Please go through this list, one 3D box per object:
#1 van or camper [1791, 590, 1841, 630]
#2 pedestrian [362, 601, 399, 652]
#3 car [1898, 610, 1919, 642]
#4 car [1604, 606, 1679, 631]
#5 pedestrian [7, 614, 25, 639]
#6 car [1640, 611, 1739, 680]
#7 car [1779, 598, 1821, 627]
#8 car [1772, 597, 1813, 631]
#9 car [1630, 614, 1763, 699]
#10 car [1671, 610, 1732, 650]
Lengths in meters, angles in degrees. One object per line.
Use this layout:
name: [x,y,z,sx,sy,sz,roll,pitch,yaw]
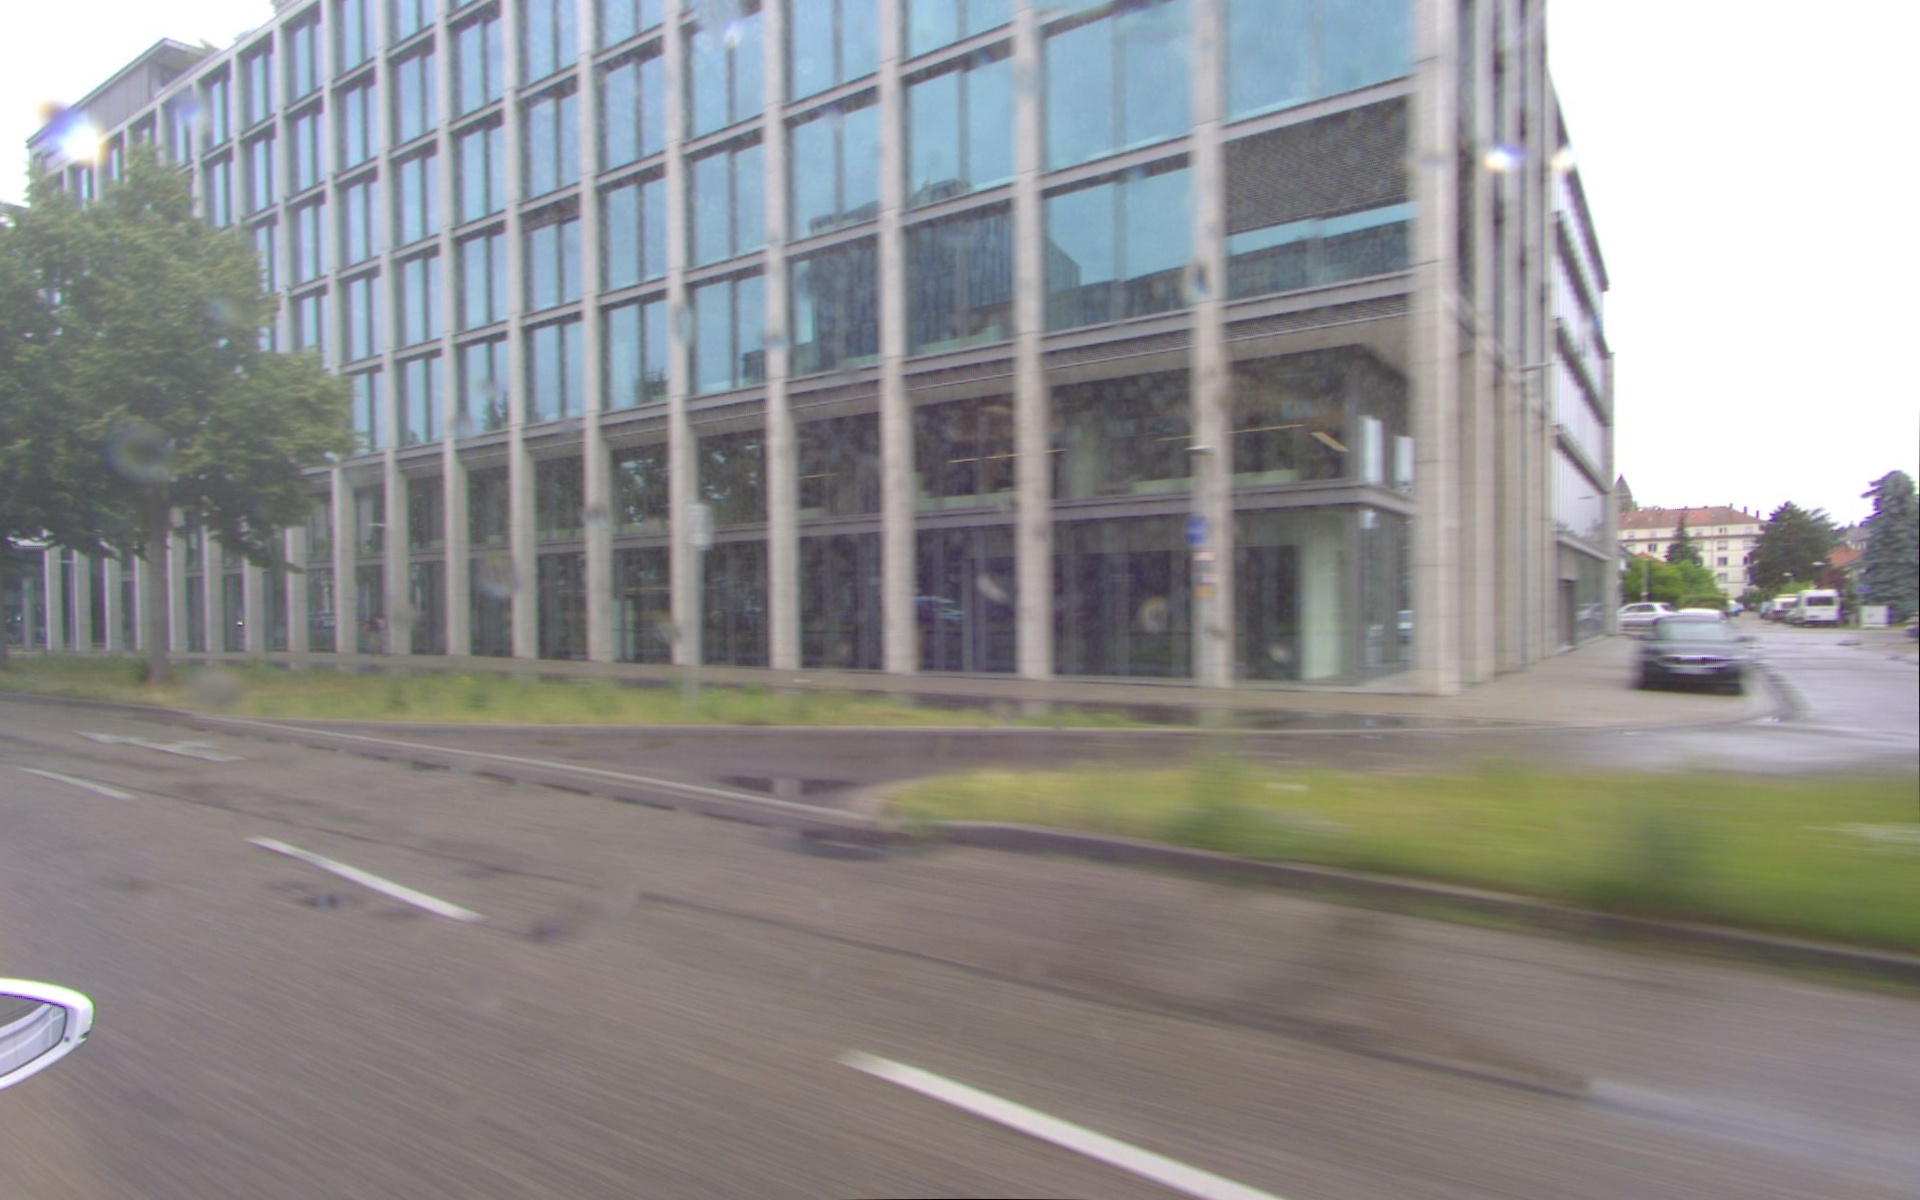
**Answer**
van or camper: [59.016,0.692,69.093,2.065,2.618,5.597,0,-1,35]
pedestrian: [-20.089,0.908,34.714,0.848,1.738,0.715,0,2,31]
car: [46.679,1.098,46.605,3.974,1.472,1.853,-5,-3,30]
car: [44.726,1.181,65.821,3.942,1.603,1.851,0,0,32]
pedestrian: [-66.149,1.856,70.155,0.773,1.730,0.675,0,0,-33]
car: [18.474,1.078,25.431,1.836,1.508,3.975,3,1,35]
car: [62.405,0.944,74.451,1.972,2.039,3.978,0,-2,34]
car: [71.062,1.228,85.544,2.196,2.817,4.480,0,-2,34]
car: [15.053,1.070,20.499,1.955,1.457,4.203,2,1,37]
car: [29.459,1.156,39.809,1.837,1.457,3.973,1,1,37]
